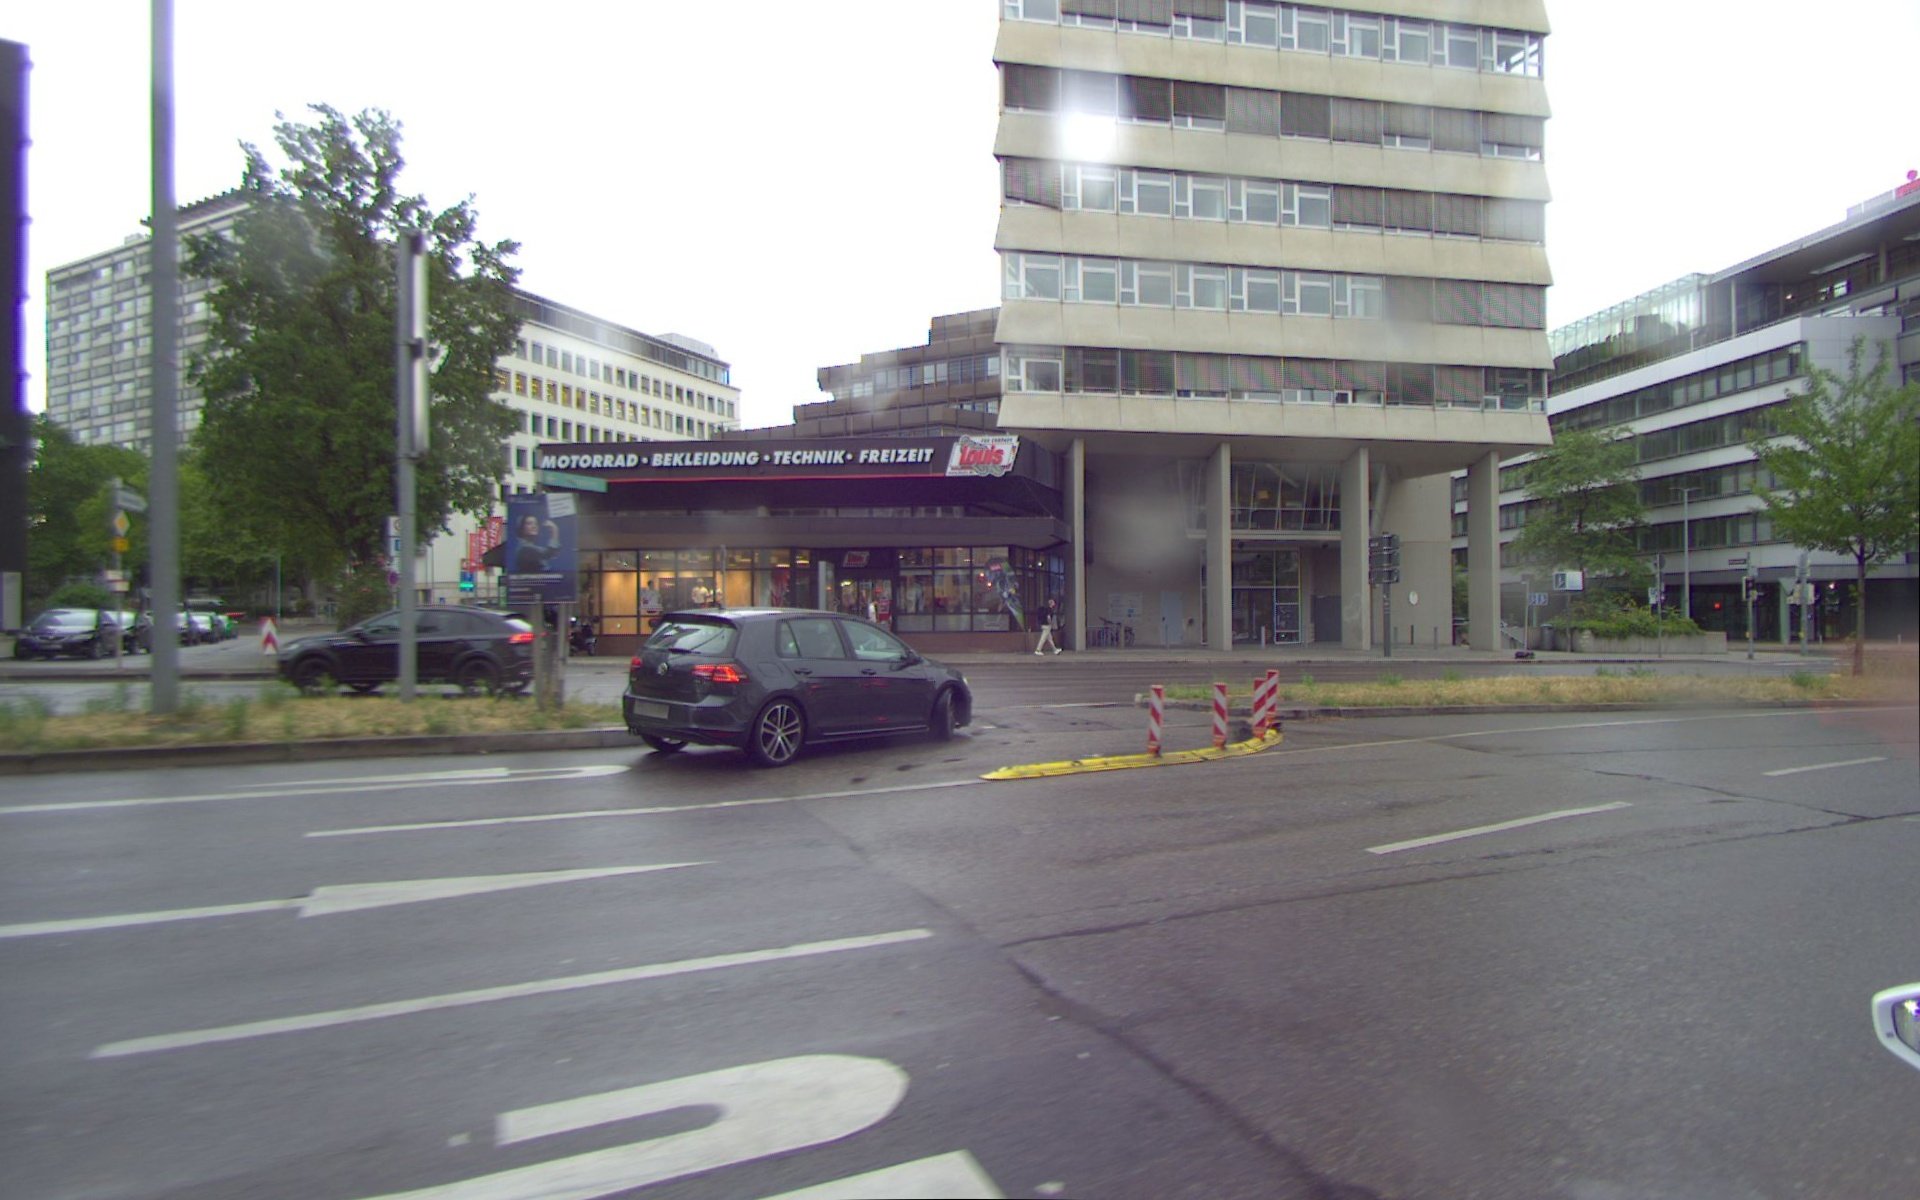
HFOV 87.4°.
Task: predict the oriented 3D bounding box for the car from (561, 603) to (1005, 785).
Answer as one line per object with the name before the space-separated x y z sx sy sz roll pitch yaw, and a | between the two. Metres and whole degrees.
car | -1.563 0.802 10.574 1.815 1.470 4.672 0 -1 36

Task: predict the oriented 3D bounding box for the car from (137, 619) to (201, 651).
car | -36.276 1.599 46.169 1.827 1.305 3.965 2 0 -32

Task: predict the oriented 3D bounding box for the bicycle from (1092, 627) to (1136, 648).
bicycle | 6.421 1.559 41.785 1.741 0.823 0.454 1 0 -10

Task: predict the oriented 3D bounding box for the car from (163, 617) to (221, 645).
car | -39.017 1.571 51.089 1.826 1.305 3.967 2 0 -30

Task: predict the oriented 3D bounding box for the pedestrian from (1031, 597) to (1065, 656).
pedestrian | 2.837 0.850 32.414 0.908 1.857 0.728 1 -1 -11

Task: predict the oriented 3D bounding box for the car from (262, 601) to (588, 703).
car | -8.836 0.840 16.902 4.394 1.564 2.000 1 -1 0

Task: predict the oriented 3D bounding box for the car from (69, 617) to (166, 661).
car | -28.161 1.274 33.696 1.826 1.305 3.967 2 0 -31

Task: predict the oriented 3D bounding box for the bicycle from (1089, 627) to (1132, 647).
bicycle | 6.334 1.562 42.370 1.741 0.823 0.454 1 0 -10

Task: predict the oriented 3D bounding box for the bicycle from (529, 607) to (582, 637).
bicycle | -18.819 1.013 46.732 2.181 1.345 0.913 2 0 -30

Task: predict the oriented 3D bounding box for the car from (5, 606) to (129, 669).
car | -26.007 1.046 29.398 1.977 1.662 3.966 2 0 -31

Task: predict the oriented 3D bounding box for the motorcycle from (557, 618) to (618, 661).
motorcycle | -12.485 1.299 33.763 0.709 1.351 2.822 1 0 7

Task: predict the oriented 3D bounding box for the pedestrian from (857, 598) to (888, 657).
pedestrian | -2.790 0.873 32.001 0.908 1.857 0.818 1 -1 -11

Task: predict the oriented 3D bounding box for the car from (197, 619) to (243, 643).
car | -44.822 1.847 60.896 1.826 1.305 3.967 2 0 -30

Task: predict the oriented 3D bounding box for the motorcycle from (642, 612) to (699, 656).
motorcycle | -9.560 1.099 33.349 0.788 1.392 2.894 1 0 5
